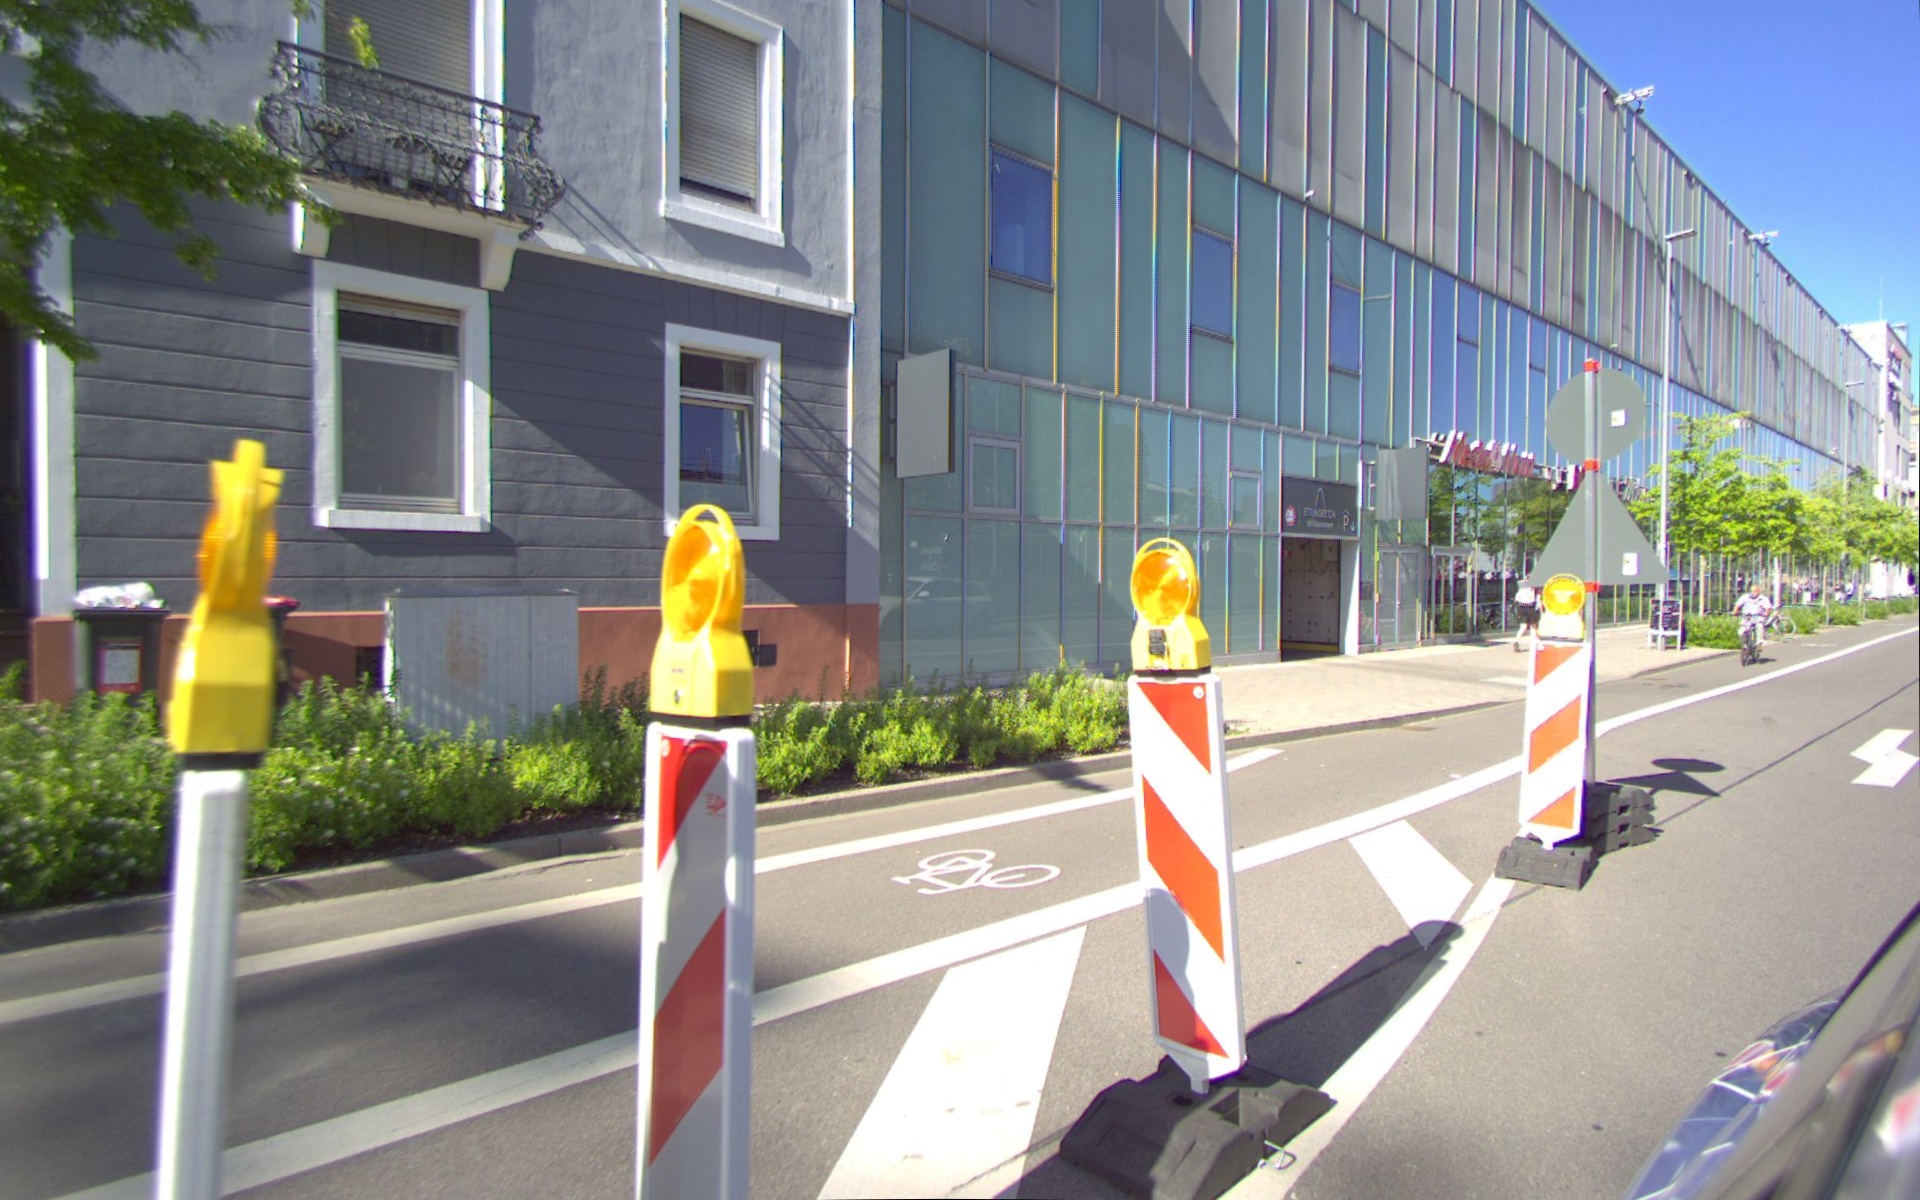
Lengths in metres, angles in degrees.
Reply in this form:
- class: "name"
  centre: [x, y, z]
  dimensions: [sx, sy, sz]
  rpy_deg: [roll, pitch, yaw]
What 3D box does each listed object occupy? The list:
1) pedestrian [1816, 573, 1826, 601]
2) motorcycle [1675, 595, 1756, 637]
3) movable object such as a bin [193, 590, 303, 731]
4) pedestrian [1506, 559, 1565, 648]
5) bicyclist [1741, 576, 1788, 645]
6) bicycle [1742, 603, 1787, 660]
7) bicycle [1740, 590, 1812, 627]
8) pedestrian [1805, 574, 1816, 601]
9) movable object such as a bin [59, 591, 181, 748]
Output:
- class: "pedestrian"
  centre: [52.314, -0.801, 61.492]
  dimensions: [0.339, 1.712, 0.450]
  rpy_deg: [-1, 0, -41]
- class: "motorcycle"
  centre: [22.316, 0.463, 29.937]
  dimensions: [0.630, 1.095, 1.886]
  rpy_deg: [-1, 3, -17]
- class: "movable object such as a bin"
  centre: [-5.894, 0.471, 8.377]
  dimensions: [0.691, 1.096, 0.604]
  rpy_deg: [-1, 0, -40]
- class: "pedestrian"
  centre: [13.352, 0.060, 23.486]
  dimensions: [0.880, 1.946, 0.877]
  rpy_deg: [-3, 5, -41]
- class: "bicyclist"
  centre: [17.842, 0.228, 22.438]
  dimensions: [0.753, 1.480, 0.578]
  rpy_deg: [0, 1, 44]
- class: "bicycle"
  centre: [17.832, 0.667, 22.424]
  dimensions: [0.608, 1.165, 1.956]
  rpy_deg: [-1, 1, 44]
- class: "bicycle"
  centre: [26.383, 0.267, 32.758]
  dimensions: [1.728, 1.075, 0.462]
  rpy_deg: [4, 3, 34]
- class: "pedestrian"
  centre: [51.813, -0.750, 61.661]
  dimensions: [0.282, 1.620, 0.450]
  rpy_deg: [-1, 0, -41]
- class: "movable object such as a bin"
  centre: [-6.394, 0.492, 7.724]
  dimensions: [0.691, 1.122, 0.589]
  rpy_deg: [-1, 0, -40]
